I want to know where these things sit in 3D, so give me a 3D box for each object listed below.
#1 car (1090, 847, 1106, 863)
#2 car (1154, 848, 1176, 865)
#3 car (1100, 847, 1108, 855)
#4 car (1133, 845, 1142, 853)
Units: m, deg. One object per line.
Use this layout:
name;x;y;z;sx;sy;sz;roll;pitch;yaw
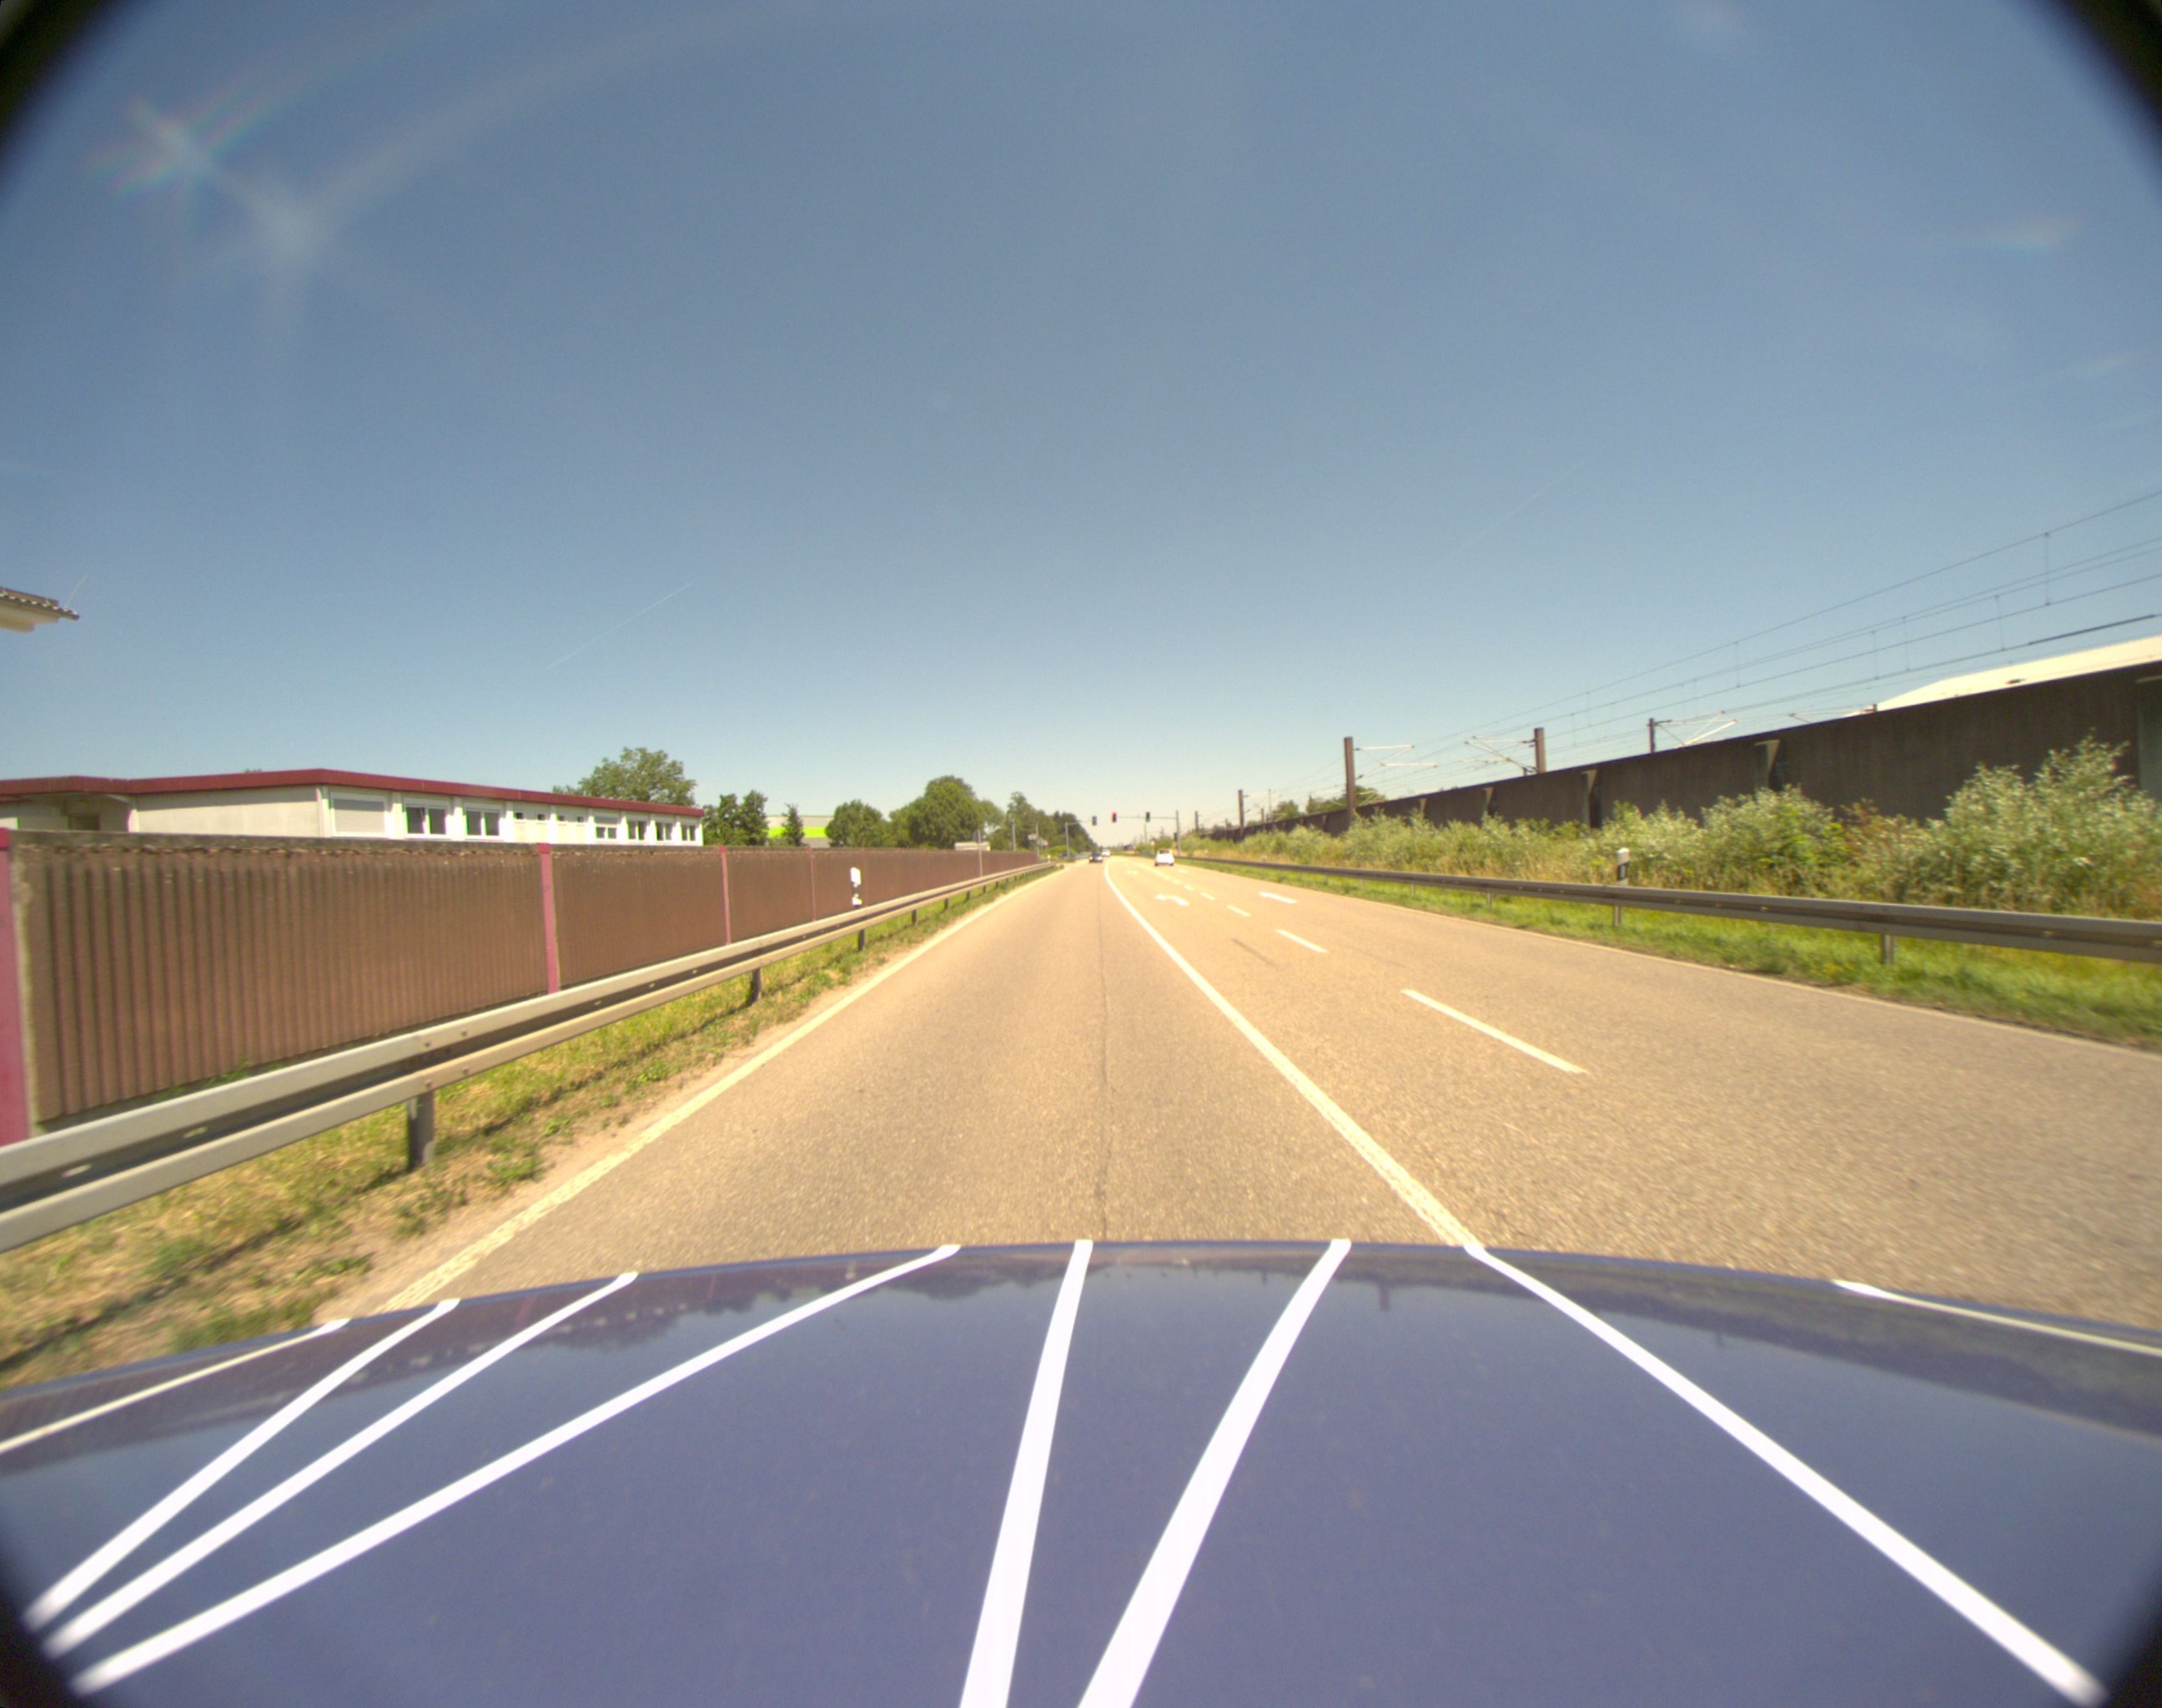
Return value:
car;2.186;0.068;100.697;1.998;2.002;4.000;-2;1;1
car;7.919;0.200;71.801;1.599;1.466;3.773;-2;1;0
car;6.294;-0.841;207.056;1.998;2.002;4.000;-2;0;1
car;14.525;-1.367;195.302;1.998;2.002;4.000;-2;1;1
